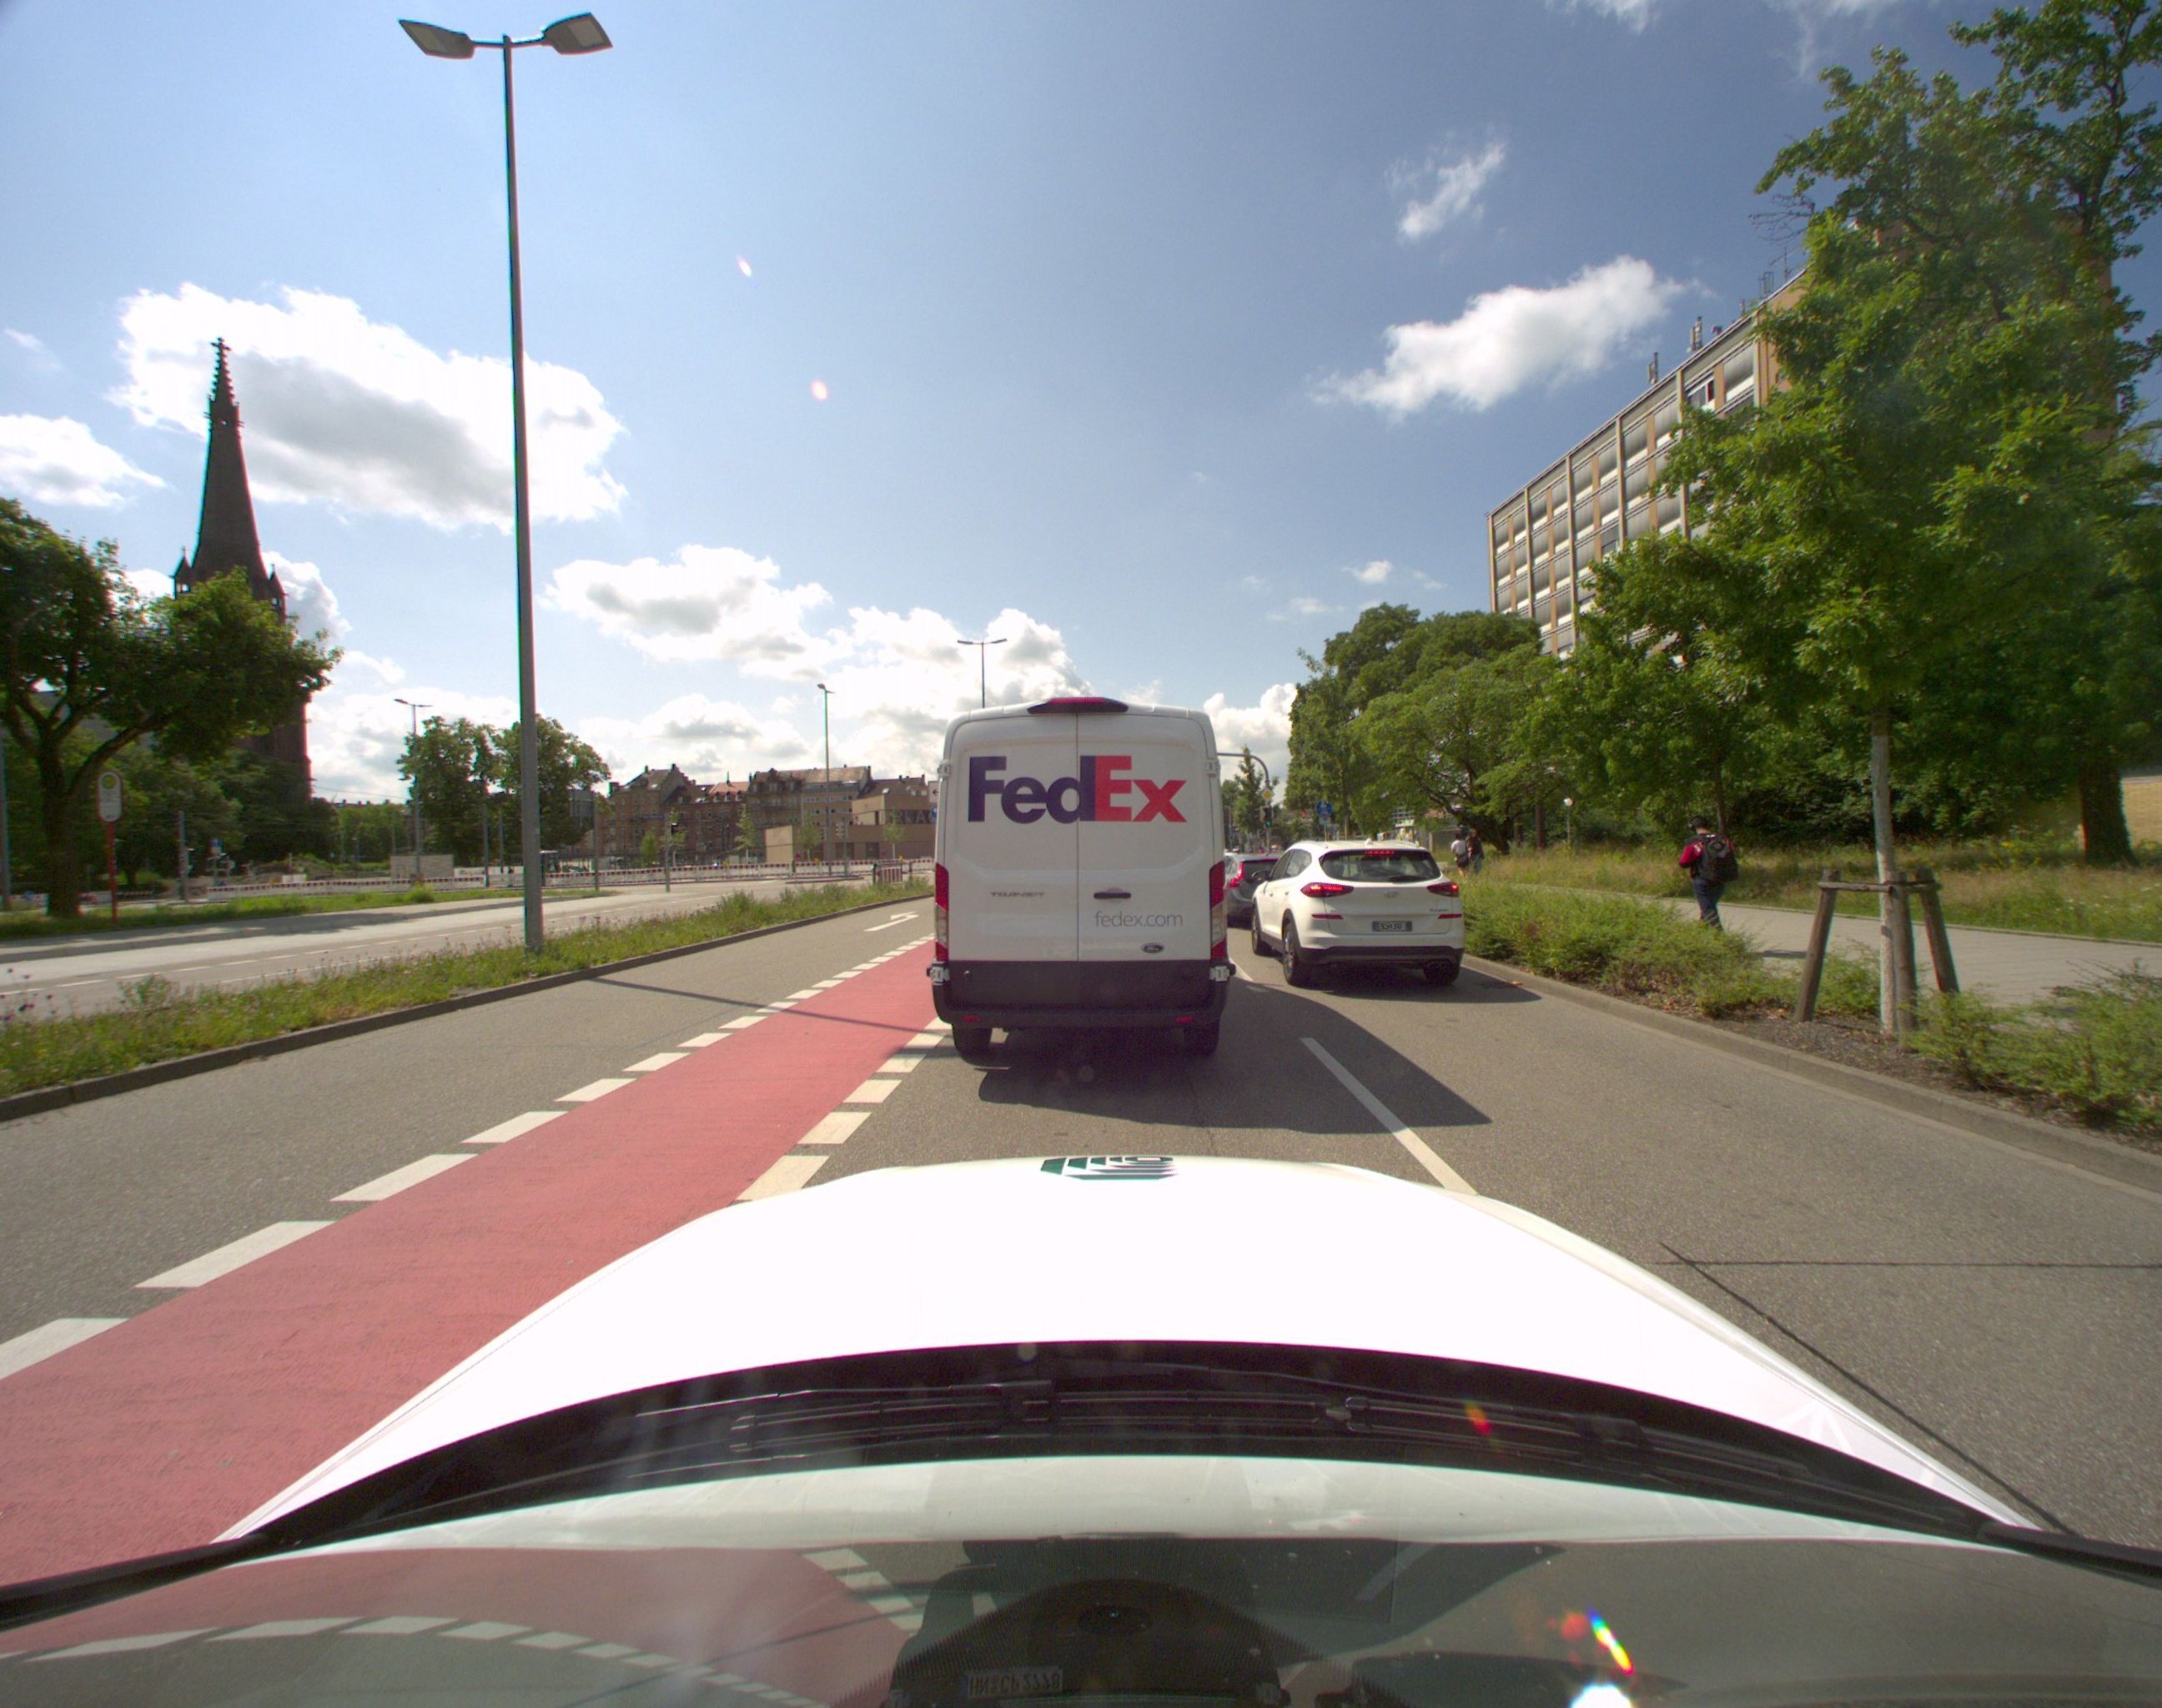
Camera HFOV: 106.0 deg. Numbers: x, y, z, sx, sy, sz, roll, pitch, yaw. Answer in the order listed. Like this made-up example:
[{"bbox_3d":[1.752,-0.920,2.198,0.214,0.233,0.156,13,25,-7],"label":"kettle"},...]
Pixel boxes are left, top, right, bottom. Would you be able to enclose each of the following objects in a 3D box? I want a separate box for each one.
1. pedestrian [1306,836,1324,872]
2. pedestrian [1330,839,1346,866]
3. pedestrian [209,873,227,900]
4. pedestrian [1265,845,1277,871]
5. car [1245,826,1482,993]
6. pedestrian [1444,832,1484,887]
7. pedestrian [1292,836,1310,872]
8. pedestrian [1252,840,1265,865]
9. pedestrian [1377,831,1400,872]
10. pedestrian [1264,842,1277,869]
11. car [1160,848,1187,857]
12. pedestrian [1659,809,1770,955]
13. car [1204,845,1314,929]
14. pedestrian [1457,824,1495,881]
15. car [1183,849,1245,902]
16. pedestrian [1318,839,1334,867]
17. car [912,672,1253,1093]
[{"bbox_3d":[12.551,-0.004,43.689,0.755,1.849,0.817,-2,0,5],"label":"pedestrian"},{"bbox_3d":[17.695,-0.090,56.123,0.758,1.849,0.814,-2,0,-6],"label":"pedestrian"},{"bbox_3d":[-65.906,2.467,62.183,0.629,2.013,0.648,-2,0,-4],"label":"pedestrian"},{"bbox_3d":[13.718,0.315,58.876,0.753,1.849,0.820,-2,0,16],"label":"pedestrian"},{"bbox_3d":[3.307,0.558,10.382,1.807,1.678,3.978,-2,0,3],"label":"car"},{"bbox_3d":[11.003,0.152,23.399,0.755,1.557,0.817,-2,0,3],"label":"pedestrian"},{"bbox_3d":[11.680,-0.017,43.281,0.755,1.849,0.817,-2,0,3],"label":"pedestrian"},{"bbox_3d":[13.013,-0.123,59.708,0.810,1.849,0.762,-2,0,5],"label":"pedestrian"},{"bbox_3d":[13.500,-0.106,35.814,0.754,1.789,0.818,-2,0,10],"label":"pedestrian"},{"bbox_3d":[13.155,0.104,56.532,0.752,1.849,0.820,-2,0,20],"label":"pedestrian"},{"bbox_3d":[16.197,-0.263,142.730,4.416,1.648,1.909,-1,-1,42],"label":"car"},{"bbox_3d":[7.675,0.326,9.908,0.753,1.684,0.819,-2,0,13],"label":"pedestrian"},{"bbox_3d":[3.619,0.607,17.156,1.684,1.549,3.724,-2,0,3],"label":"car"},{"bbox_3d":[11.985,-0.048,24.731,0.755,1.655,0.817,-2,0,5],"label":"pedestrian"},{"bbox_3d":[4.011,0.600,24.987,1.493,1.464,3.477,-2,0,3],"label":"car"},{"bbox_3d":[16.799,-0.083,55.834,0.758,1.849,0.814,-2,0,-8],"label":"pedestrian"},{"bbox_3d":[0.134,0.173,7.322,2.064,2.581,4.432,-2,0,3],"label":"car"}]
